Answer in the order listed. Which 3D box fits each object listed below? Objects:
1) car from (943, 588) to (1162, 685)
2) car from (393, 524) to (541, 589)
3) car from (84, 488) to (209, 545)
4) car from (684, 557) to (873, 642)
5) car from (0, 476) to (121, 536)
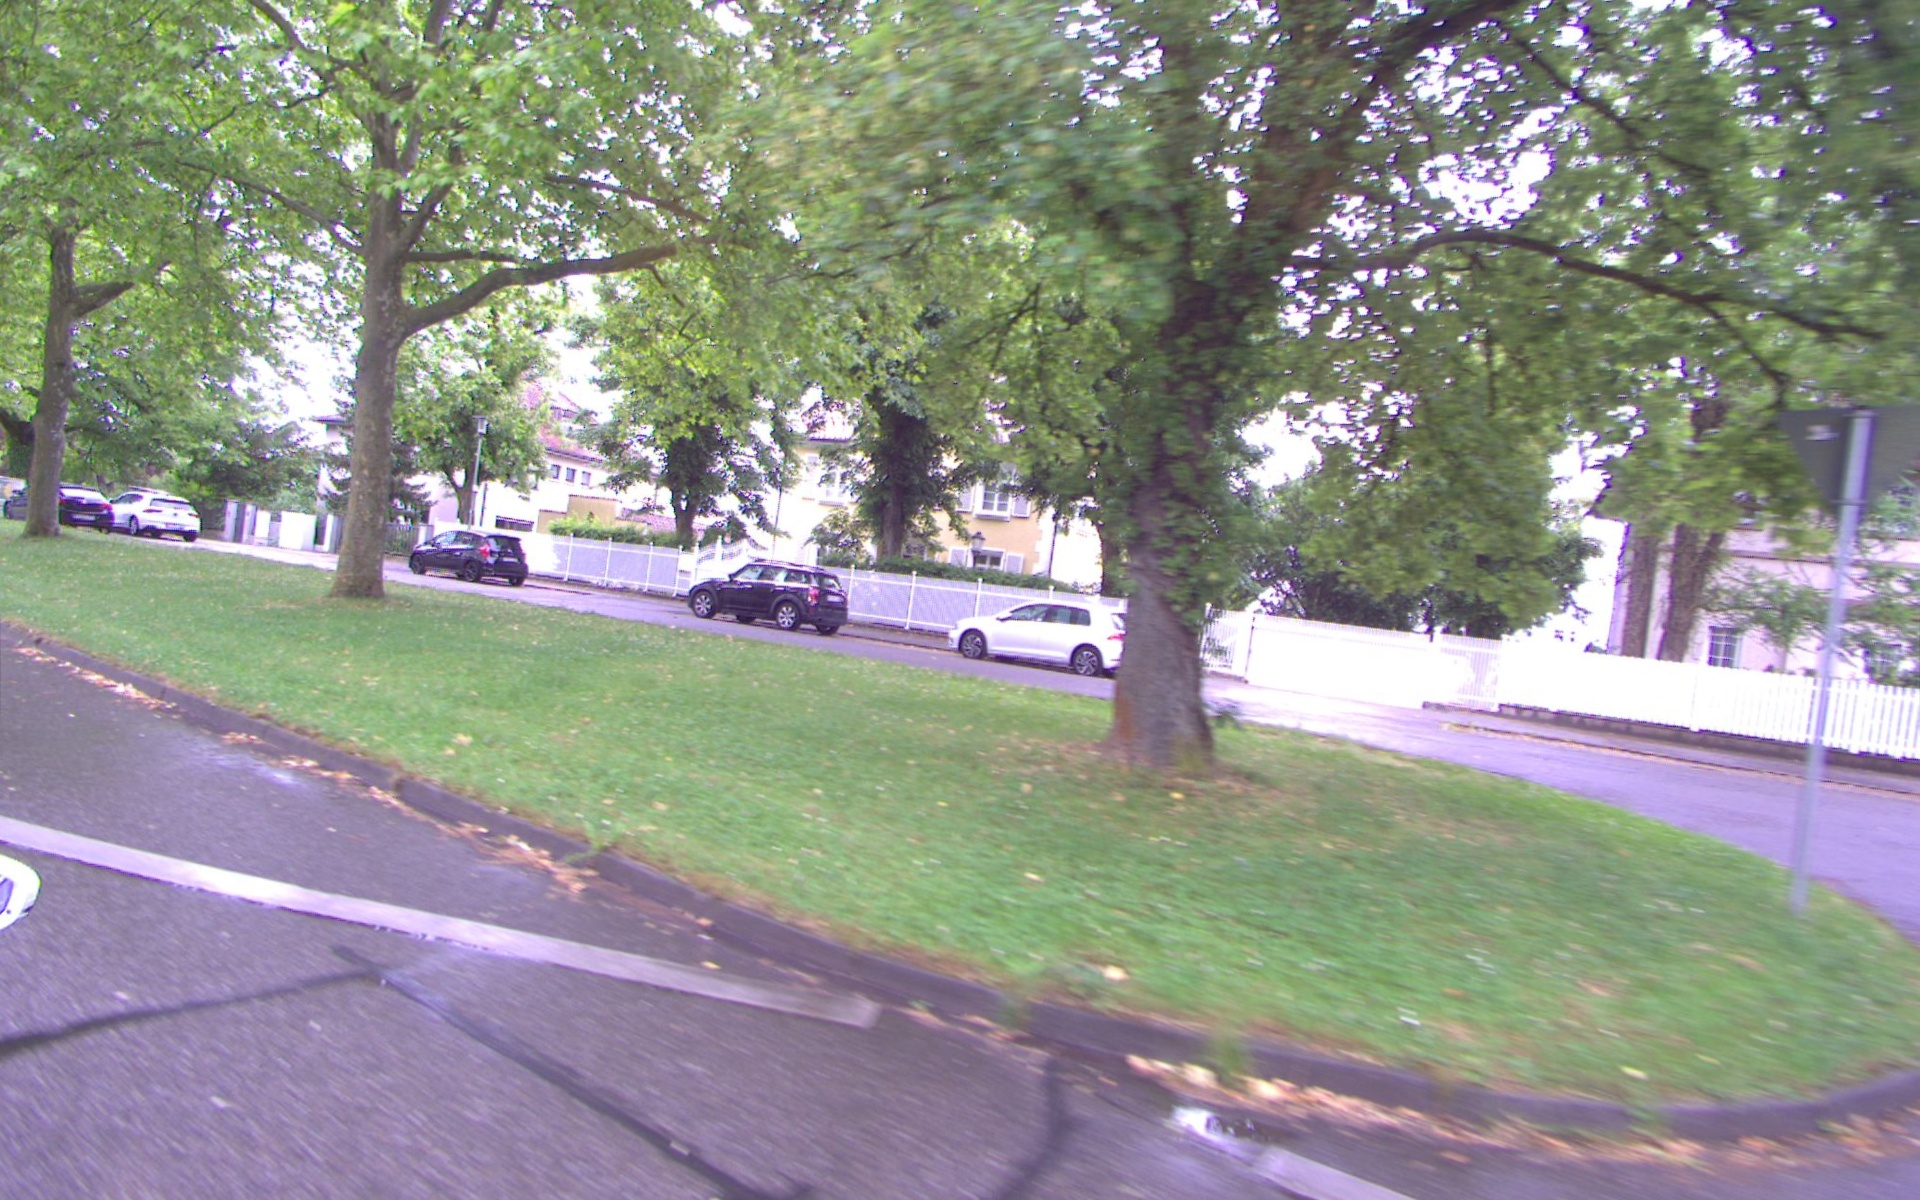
[{"bbox_3d":[1.957,0.771,21.351,4.053,1.465,1.999,6,-2,28],"label":"car"},{"bbox_3d":[-14.981,-1.330,30.534,4.282,1.489,1.764,6,0,28],"label":"car"},{"bbox_3d":[-27.778,-2.859,34.331,4.351,1.490,1.847,6,1,31],"label":"car"},{"bbox_3d":[-4.443,-0.019,24.605,4.053,1.488,1.999,6,-2,28],"label":"car"},{"bbox_3d":[-28.846,-3.013,32.102,4.522,1.490,1.765,6,1,31],"label":"car"}]
